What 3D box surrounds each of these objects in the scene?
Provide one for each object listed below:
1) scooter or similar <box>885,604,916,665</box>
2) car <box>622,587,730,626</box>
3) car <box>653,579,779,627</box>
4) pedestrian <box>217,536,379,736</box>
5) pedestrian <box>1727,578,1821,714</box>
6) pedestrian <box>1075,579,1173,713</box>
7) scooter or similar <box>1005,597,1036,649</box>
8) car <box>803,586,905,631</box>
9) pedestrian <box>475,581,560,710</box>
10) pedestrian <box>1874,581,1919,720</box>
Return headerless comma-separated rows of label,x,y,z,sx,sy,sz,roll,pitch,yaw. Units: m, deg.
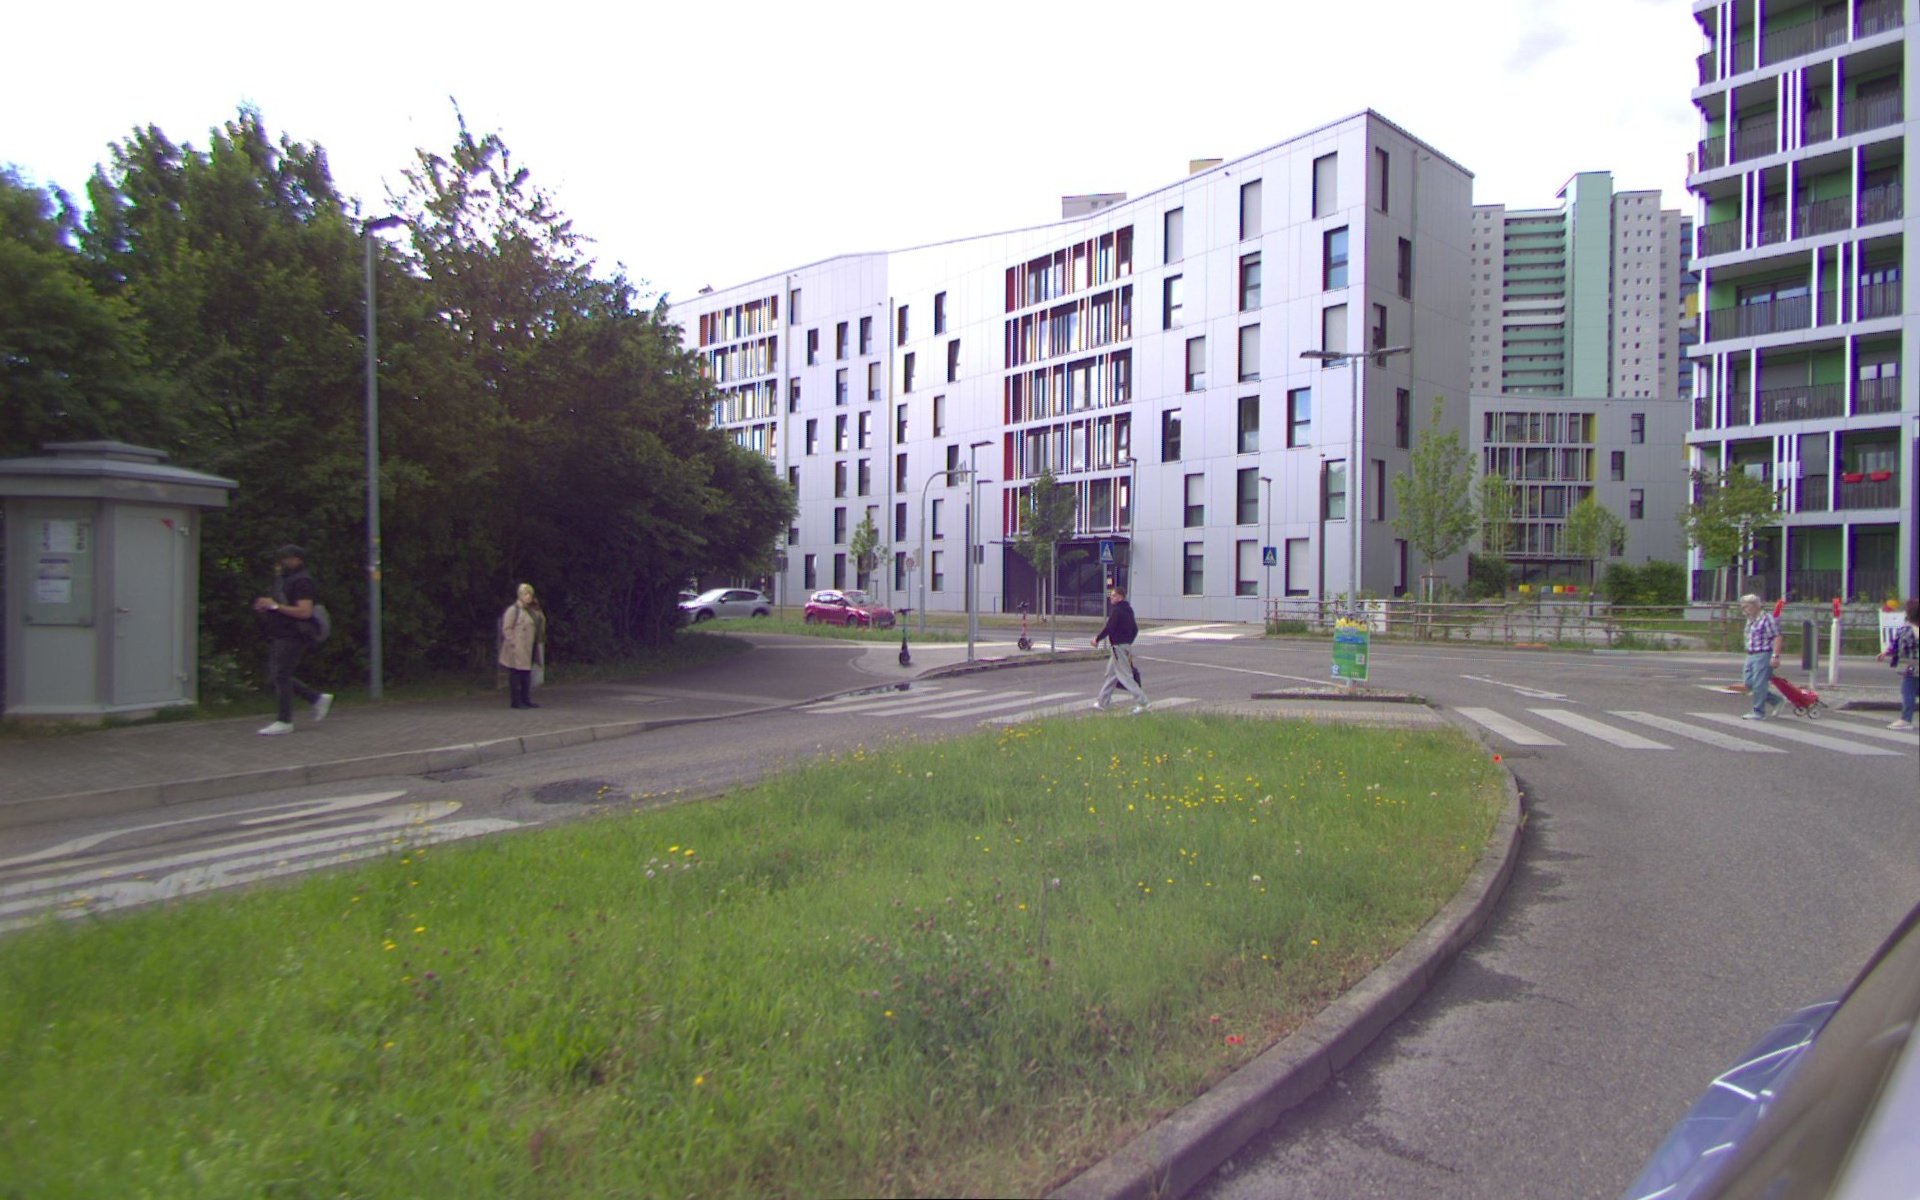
scooter or similar,-1.339,0.754,22.995,0.610,1.290,1.496,0,2,0
car,-12.036,0.266,43.043,1.790,1.606,4.101,0,0,44
car,-9.884,0.155,41.278,2.062,1.775,4.591,0,-2,42
pedestrian,-6.487,0.339,9.957,0.847,1.846,0.978,0,-2,21
pedestrian,10.362,0.551,12.896,0.685,1.653,0.723,-2,2,-28
pedestrian,2.284,0.592,14.035,1.055,1.769,0.946,0,0,35
scooter or similar,1.640,0.600,27.305,0.564,1.329,1.519,0,1,14
car,-4.327,0.305,40.839,1.903,1.651,4.233,-2,2,-43
pedestrian,-5.788,0.566,13.242,0.680,1.614,0.764,0,0,27
pedestrian,11.278,0.576,11.829,0.679,1.586,0.733,0,0,-33
